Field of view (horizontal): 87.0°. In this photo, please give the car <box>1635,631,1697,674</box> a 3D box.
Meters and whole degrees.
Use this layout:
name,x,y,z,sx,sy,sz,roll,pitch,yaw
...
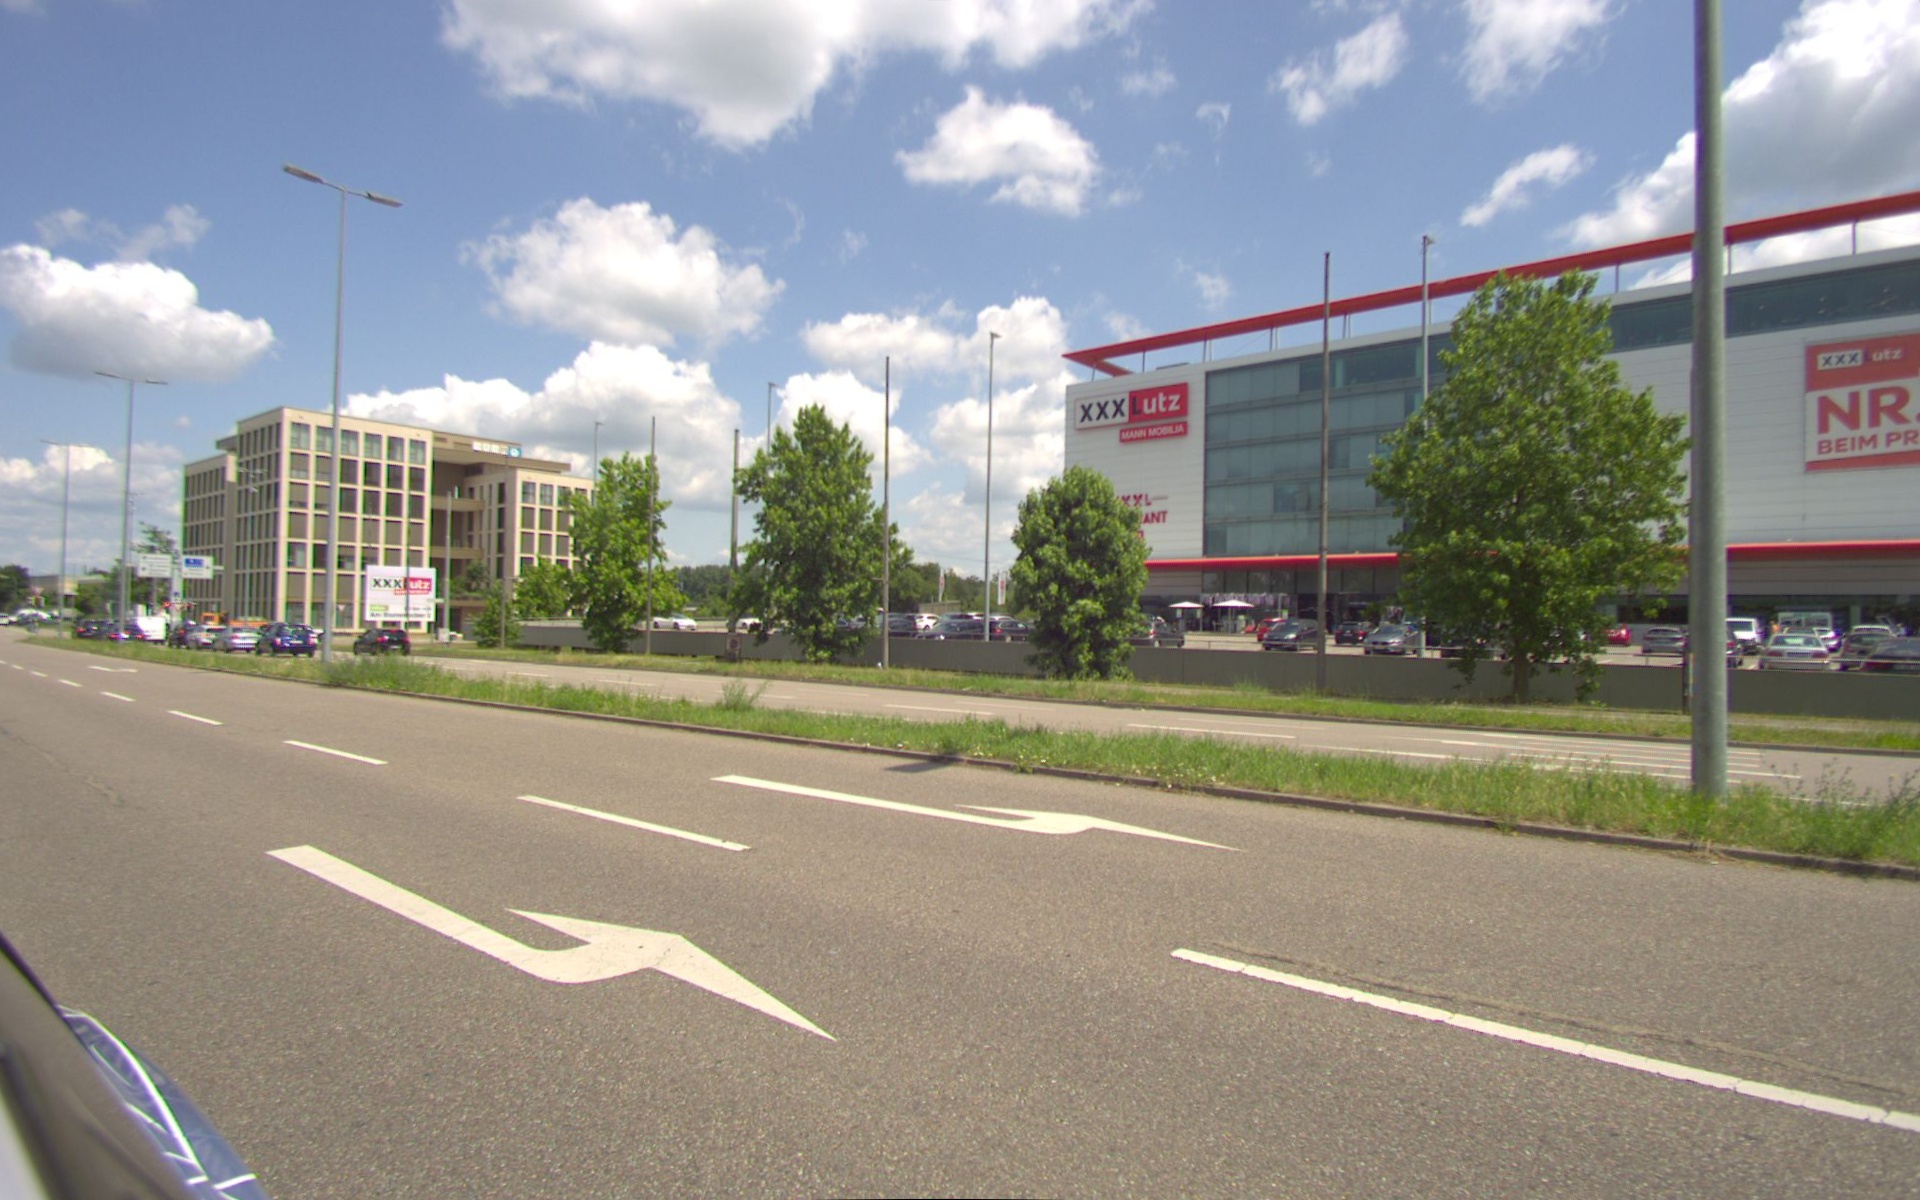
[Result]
name,x,y,z,sx,sy,sz,roll,pitch,yaw
car,34.528,2.572,49.474,1.999,2.004,4.303,-2,-4,41

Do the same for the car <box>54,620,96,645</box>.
name,x,y,z,sx,sy,sz,roll,pitch,yaw
car,-59.760,2.207,68.334,4.171,1.657,1.771,-2,-4,44

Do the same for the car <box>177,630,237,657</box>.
name,x,y,z,sx,sy,sz,roll,pitch,yaw
car,-42.359,2.456,56.873,4.844,1.413,1.772,-2,-5,43

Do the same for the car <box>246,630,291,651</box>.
name,x,y,z,sx,sy,sz,roll,pitch,yaw
car,-46.996,2.773,68.750,4.585,1.402,1.601,-3,-4,45

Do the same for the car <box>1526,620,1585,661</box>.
name,x,y,z,sx,sy,sz,roll,pitch,yaw
car,30.918,2.102,52.488,1.998,2.004,4.305,-1,-3,40

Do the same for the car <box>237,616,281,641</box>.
name,x,y,z,sx,sy,sz,roll,pitch,yaw
car,-50.875,2.105,73.407,3.870,1.714,1.772,-2,-4,43

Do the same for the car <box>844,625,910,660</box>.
name,x,y,z,sx,sy,sz,roll,pitch,yaw
car,-5.724,2.972,70.265,4.298,2.347,2.001,3,-3,-44

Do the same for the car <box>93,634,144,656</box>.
name,x,y,z,sx,sy,sz,roll,pitch,yaw
car,-50.422,2.701,60.626,4.306,1.260,1.772,-2,-4,43

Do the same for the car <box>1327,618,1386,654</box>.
name,x,y,z,sx,sy,sz,roll,pitch,yaw
car,23.165,2.121,59.021,1.998,2.004,4.305,-1,-3,40

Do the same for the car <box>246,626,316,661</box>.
name,x,y,z,sx,sy,sz,roll,pitch,yaw
car,-30.884,1.951,46.011,3.675,1.486,1.720,0,-3,42

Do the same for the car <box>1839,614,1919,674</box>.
name,x,y,z,sx,sy,sz,roll,pitch,yaw
car,33.439,1.601,36.798,1.998,2.029,4.764,-1,-3,39

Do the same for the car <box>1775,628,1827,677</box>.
name,x,y,z,sx,sy,sz,roll,pitch,yaw
car,41.759,2.566,50.276,1.868,2.324,4.510,-1,-3,40

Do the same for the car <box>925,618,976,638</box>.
name,x,y,z,sx,sy,sz,roll,pitch,yaw
car,-0.744,2.243,80.070,3.776,1.481,1.857,3,-4,-45

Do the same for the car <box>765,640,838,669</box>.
name,x,y,z,sx,sy,sz,roll,pitch,yaw
car,-9.383,3.221,60.059,1.850,1.608,3.943,-2,-4,43

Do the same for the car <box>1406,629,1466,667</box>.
name,x,y,z,sx,sy,sz,roll,pitch,yaw
car,26.293,2.653,55.817,1.998,2.004,4.305,-1,-3,40

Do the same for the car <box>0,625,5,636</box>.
name,x,y,z,sx,sy,sz,roll,pitch,yaw
car,-147.548,4.615,154.577,4.484,1.731,2.259,-1,-3,44

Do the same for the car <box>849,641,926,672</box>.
name,x,y,z,sx,sy,sz,roll,pitch,yaw
car,-3.911,3.043,54.871,1.846,1.608,3.943,-2,-4,43

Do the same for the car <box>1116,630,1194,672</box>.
name,x,y,z,sx,sy,sz,roll,pitch,yaw
car,9.849,2.572,50.868,1.998,2.004,4.305,-3,-4,39

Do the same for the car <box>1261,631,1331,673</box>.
name,x,y,z,sx,sy,sz,roll,pitch,yaw
car,17.243,2.643,51.816,1.990,2.058,4.243,-1,-3,40

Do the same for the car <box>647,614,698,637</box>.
name,x,y,z,sx,sy,sz,roll,pitch,yaw
car,-24.205,2.150,85.259,4.670,1.847,1.831,-2,-3,40

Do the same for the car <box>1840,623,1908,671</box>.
name,x,y,z,sx,sy,sz,roll,pitch,yaw
car,40.247,2.049,44.658,1.998,2.004,4.305,0,-2,40

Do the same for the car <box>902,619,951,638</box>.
name,x,y,z,sx,sy,sz,roll,pitch,yaw
car,-2.696,2.338,82.265,1.856,1.481,3.779,-2,-4,43

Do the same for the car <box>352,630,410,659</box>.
name,x,y,z,sx,sy,sz,roll,pitch,yaw
car,-30.378,2.316,53.054,1.600,1.481,4.118,3,-4,-45

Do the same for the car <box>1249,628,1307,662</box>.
name,x,y,z,sx,sy,sz,roll,pitch,yaw
car,19.858,2.794,63.204,1.998,2.004,4.305,-1,-3,40

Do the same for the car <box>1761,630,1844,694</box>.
name,x,y,z,sx,sy,sz,roll,pitch,yaw
car,28.442,2.059,34.217,1.998,2.004,4.305,-1,-3,40

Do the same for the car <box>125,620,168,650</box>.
name,x,y,z,sx,sy,sz,roll,pitch,yaw
car,-57.174,2.485,71.126,3.577,2.059,1.836,-2,-4,44

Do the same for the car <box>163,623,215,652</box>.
name,x,y,z,sx,sy,sz,roll,pitch,yaw
car,-47.016,2.327,61.656,4.226,1.714,1.772,-2,-4,43

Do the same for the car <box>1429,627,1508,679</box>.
name,x,y,z,sx,sy,sz,roll,pitch,yaw
car,21.000,2.154,41.701,1.998,2.004,4.305,-1,-3,40

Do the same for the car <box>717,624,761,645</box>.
name,x,y,z,sx,sy,sz,roll,pitch,yaw
car,-19.926,3.118,91.333,3.828,1.847,1.832,-2,-3,38

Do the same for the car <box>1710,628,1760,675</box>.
name,x,y,z,sx,sy,sz,roll,pitch,yaw
car,40.005,2.622,52.207,1.868,2.324,4.510,-1,-3,40

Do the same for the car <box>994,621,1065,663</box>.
name,x,y,z,sx,sy,sz,roll,pitch,yaw
car,4.043,2.436,58.462,1.998,2.347,4.305,-1,-3,40

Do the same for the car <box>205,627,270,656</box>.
name,x,y,z,sx,sy,sz,roll,pitch,yaw
car,-37.385,2.147,52.307,4.673,1.429,1.772,-2,-3,42

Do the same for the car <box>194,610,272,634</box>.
name,x,y,z,sx,sy,sz,roll,pitch,yaw
car,-77.688,2.418,108.267,6.423,2.347,2.862,2,-5,-30

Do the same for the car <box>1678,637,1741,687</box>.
name,x,y,z,sx,sy,sz,roll,pitch,yaw
car,30.010,2.442,40.465,1.776,1.844,4.305,-1,-3,40

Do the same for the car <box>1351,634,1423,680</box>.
name,x,y,z,sx,sy,sz,roll,pitch,yaw
car,20.400,2.694,48.260,1.998,2.065,4.305,-1,-3,40
